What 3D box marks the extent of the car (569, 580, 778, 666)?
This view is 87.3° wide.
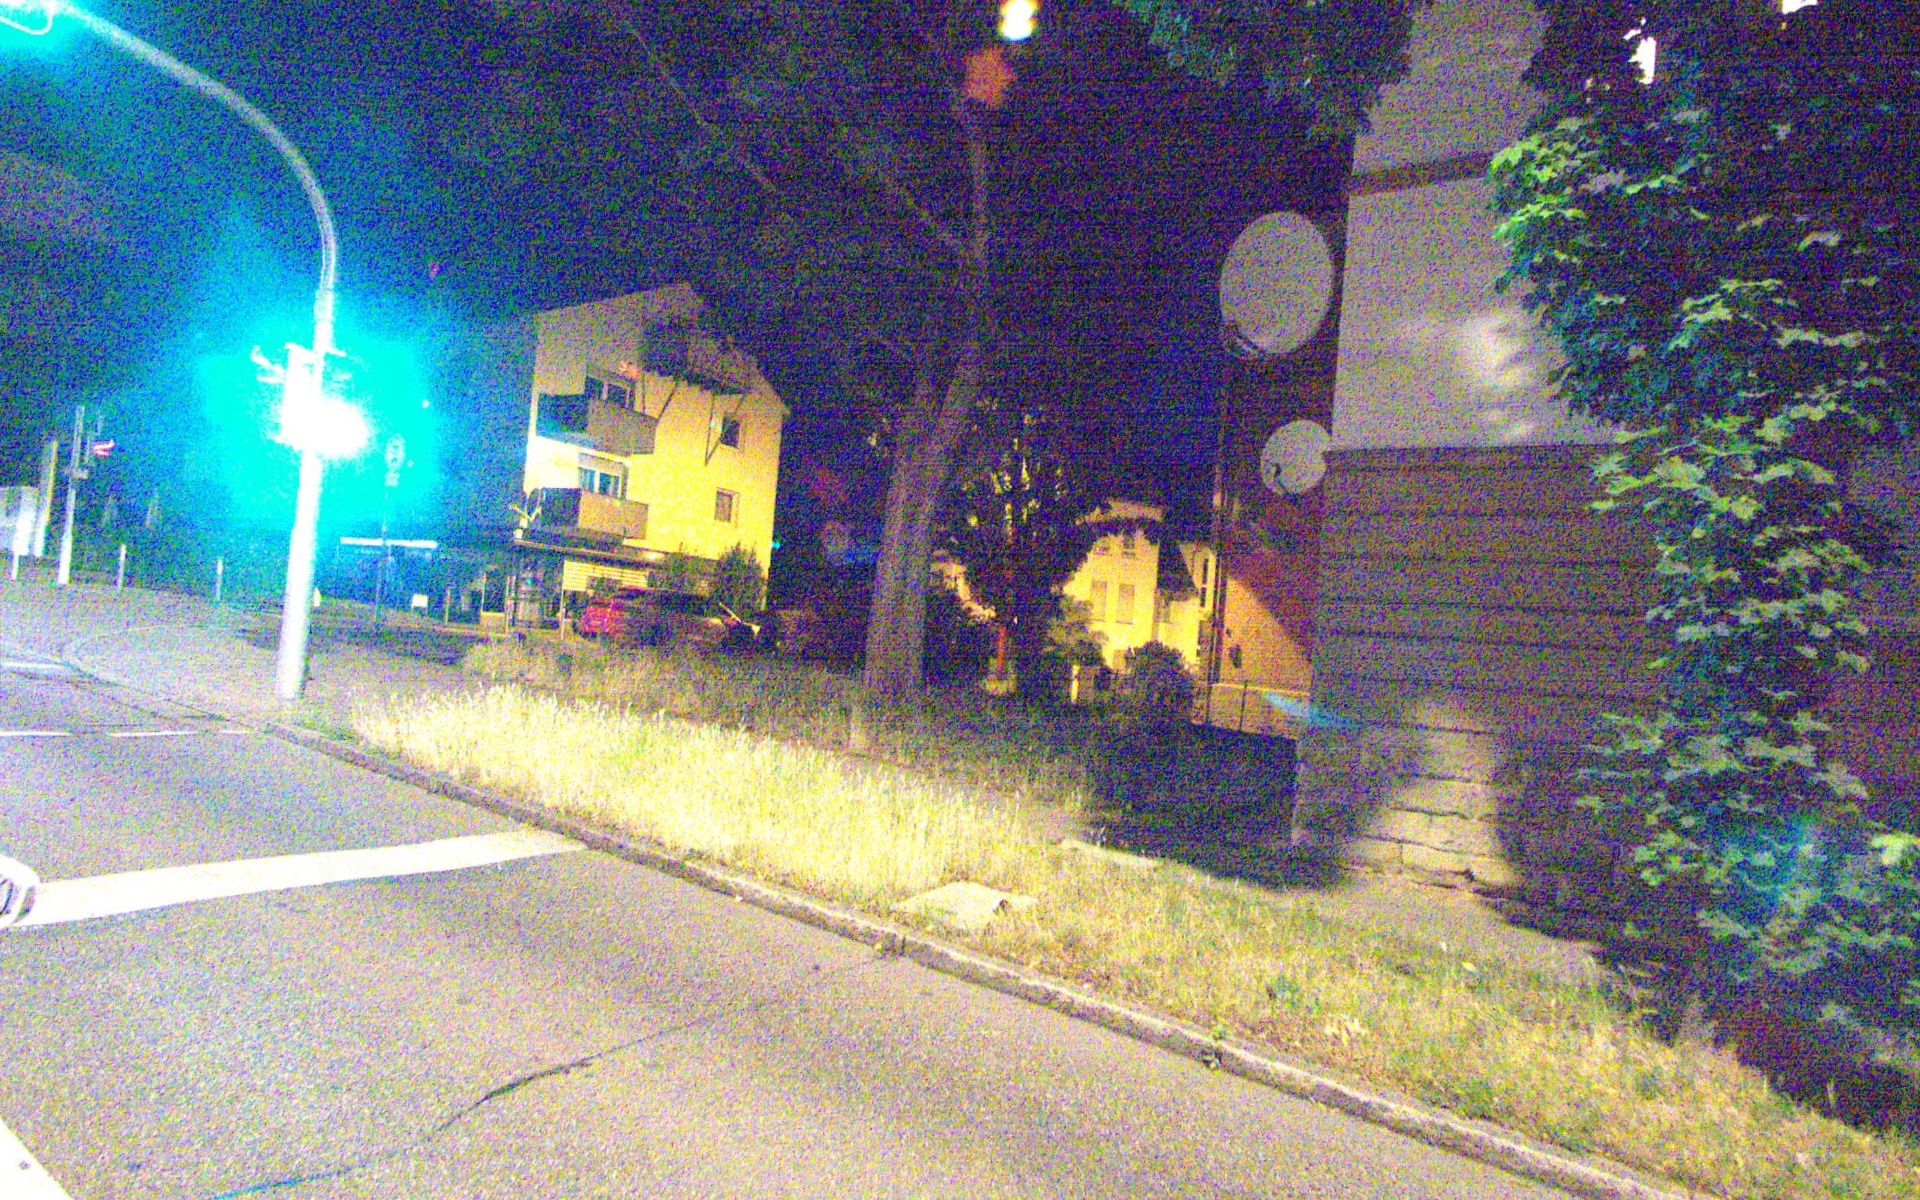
[{"bbox_3d":[-6.506,0.581,23.295,1.778,1.577,4.366,3,-3,38],"label":"car"}]
